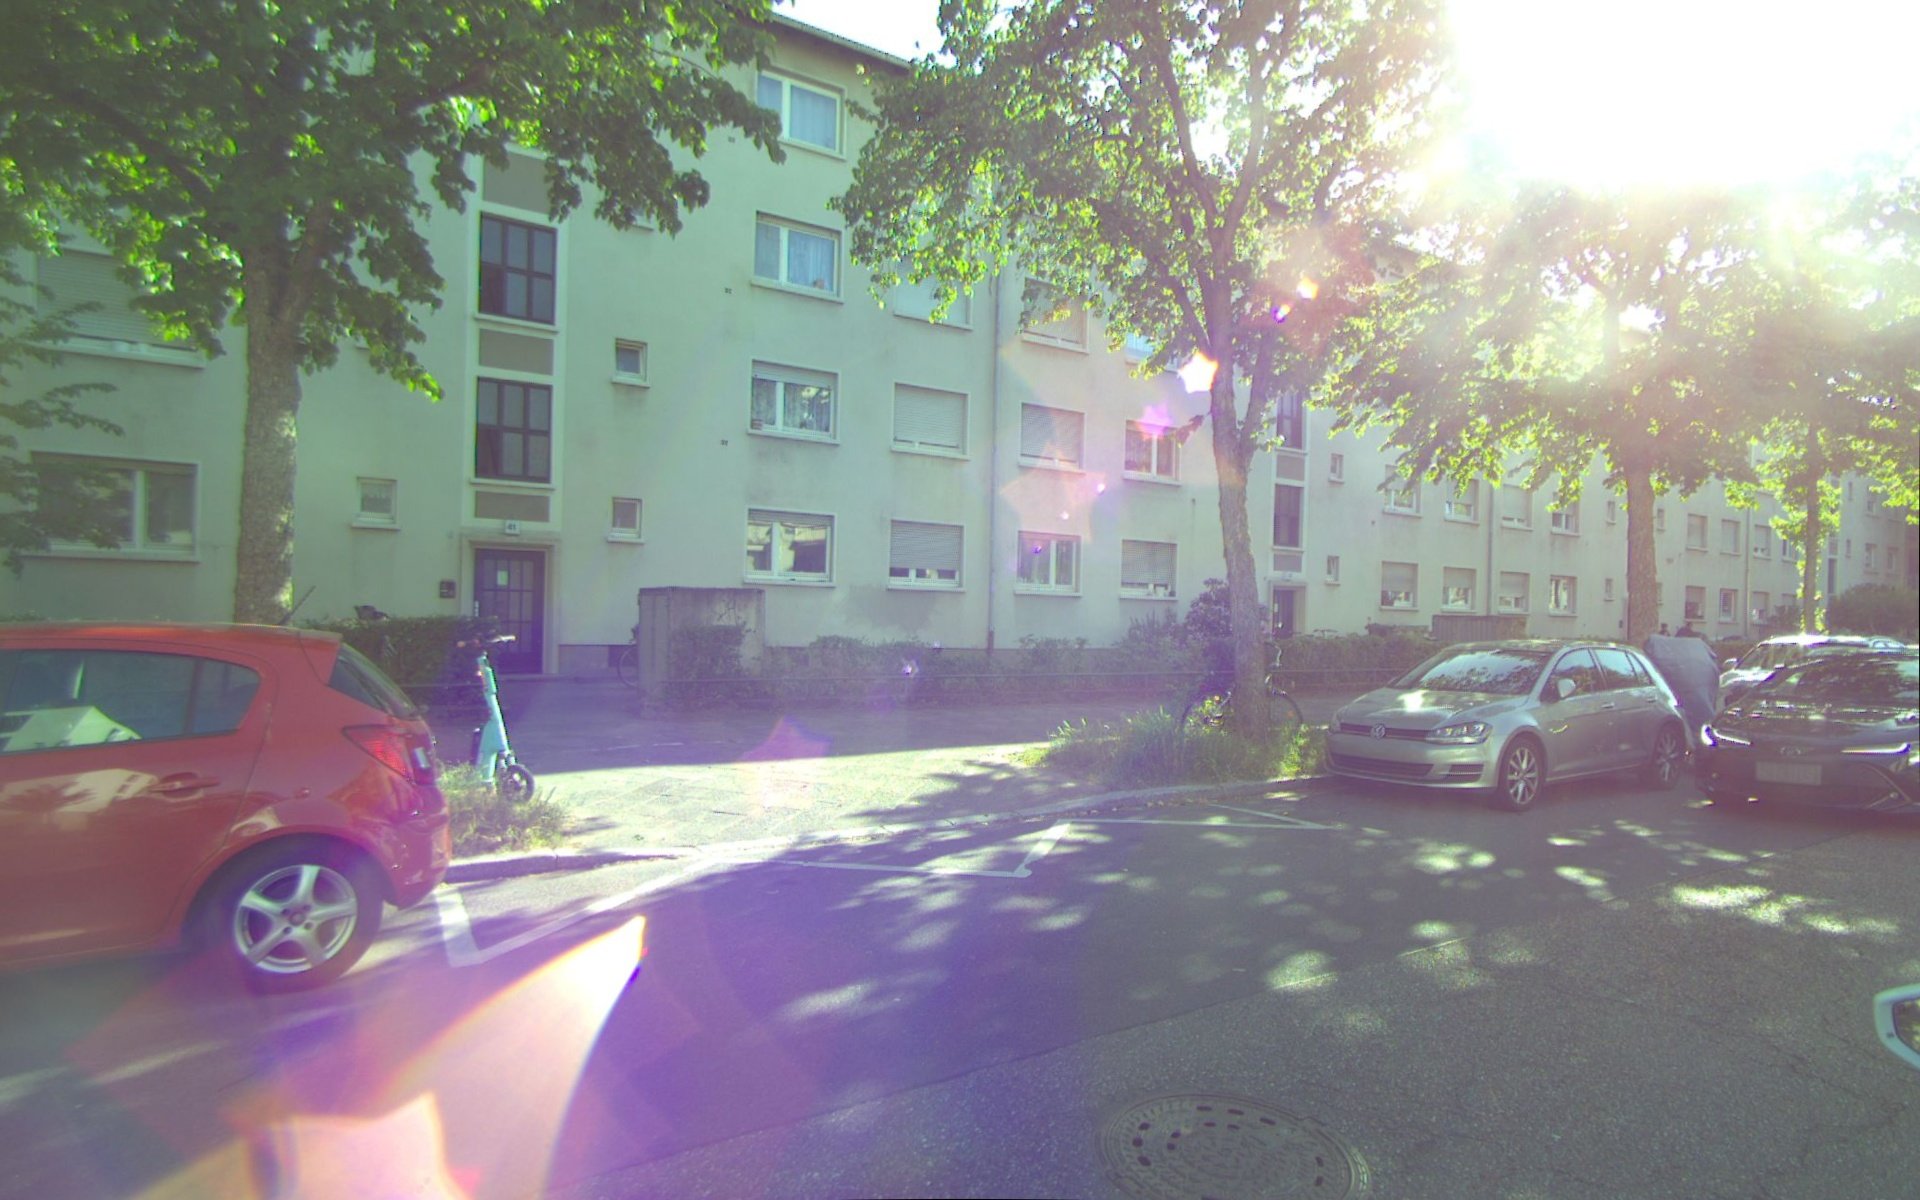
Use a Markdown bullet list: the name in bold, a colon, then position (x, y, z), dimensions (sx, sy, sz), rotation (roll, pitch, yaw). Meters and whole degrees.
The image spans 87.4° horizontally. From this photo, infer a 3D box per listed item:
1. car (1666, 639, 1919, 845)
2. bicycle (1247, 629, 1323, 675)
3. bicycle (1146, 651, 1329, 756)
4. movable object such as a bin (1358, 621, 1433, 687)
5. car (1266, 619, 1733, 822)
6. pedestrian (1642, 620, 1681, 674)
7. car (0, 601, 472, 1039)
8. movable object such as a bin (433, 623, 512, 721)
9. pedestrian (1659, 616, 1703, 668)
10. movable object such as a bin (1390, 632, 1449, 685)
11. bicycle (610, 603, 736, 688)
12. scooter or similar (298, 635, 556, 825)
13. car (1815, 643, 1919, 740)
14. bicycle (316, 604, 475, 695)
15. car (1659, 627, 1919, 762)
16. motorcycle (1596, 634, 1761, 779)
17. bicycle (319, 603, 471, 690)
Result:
- **car**: position (8.312, 1.104, 9.012), dimensions (4.320, 1.464, 1.798), rotation (2, -2, -34)
- **bicycle**: position (7.878, 1.257, 24.307), dimensions (1.918, 1.055, 0.781), rotation (2, -1, -37)
- **bicycle**: position (3.101, 1.121, 11.178), dimensions (2.063, 1.029, 0.528), rotation (2, 6, -27)
- **movable object such as a bin**: position (9.316, 1.137, 21.492), dimensions (1.367, 1.341, 0.923), rotation (2, -1, -38)
- **car**: position (5.370, 1.011, 9.855), dimensions (4.554, 1.544, 2.032), rotation (2, -1, -32)
- **pedestrian**: position (25.936, 1.729, 37.141), dimensions (0.862, 1.939, 0.783), rotation (1, -1, -5)
- **car**: position (-4.289, 0.744, 3.896), dimensions (4.136, 1.489, 1.846), rotation (2, -1, -32)
- **movable object such as a bin**: position (-5.711, 0.822, 11.761), dimensions (0.751, 1.082, 0.690), rotation (2, -1, -31)
- **pedestrian**: position (27.044, 1.581, 37.682), dimensions (1.010, 1.913, 0.932), rotation (1, -1, -21)
- **movable object such as a bin**: position (10.128, 1.283, 22.148), dimensions (0.748, 1.106, 0.923), rotation (2, -1, -37)
- **bicycle**: position (-4.578, 0.726, 16.125), dimensions (1.894, 1.306, 0.396), rotation (2, -1, -34)
- **scooter or similar**: position (-3.729, 0.893, 7.102), dimensions (1.484, 1.251, 0.556), rotation (1, 0, -3)
- **car**: position (16.219, 1.447, 16.751), dimensions (4.769, 1.466, 1.718), rotation (2, -3, -33)
- **bicycle**: position (-7.938, 0.688, 14.180), dimensions (1.889, 1.217, 0.682), rotation (2, -1, -30)
- **car**: position (11.884, 1.189, 14.020), dimensions (4.675, 1.544, 2.050), rotation (2, -1, -36)
- **motorcycle**: position (8.499, 1.188, 12.017), dimensions (0.970, 1.523, 2.234), rotation (1, -1, 18)
- **bicycle**: position (-8.287, 0.677, 14.791), dimensions (1.889, 1.217, 0.682), rotation (2, -1, -30)
